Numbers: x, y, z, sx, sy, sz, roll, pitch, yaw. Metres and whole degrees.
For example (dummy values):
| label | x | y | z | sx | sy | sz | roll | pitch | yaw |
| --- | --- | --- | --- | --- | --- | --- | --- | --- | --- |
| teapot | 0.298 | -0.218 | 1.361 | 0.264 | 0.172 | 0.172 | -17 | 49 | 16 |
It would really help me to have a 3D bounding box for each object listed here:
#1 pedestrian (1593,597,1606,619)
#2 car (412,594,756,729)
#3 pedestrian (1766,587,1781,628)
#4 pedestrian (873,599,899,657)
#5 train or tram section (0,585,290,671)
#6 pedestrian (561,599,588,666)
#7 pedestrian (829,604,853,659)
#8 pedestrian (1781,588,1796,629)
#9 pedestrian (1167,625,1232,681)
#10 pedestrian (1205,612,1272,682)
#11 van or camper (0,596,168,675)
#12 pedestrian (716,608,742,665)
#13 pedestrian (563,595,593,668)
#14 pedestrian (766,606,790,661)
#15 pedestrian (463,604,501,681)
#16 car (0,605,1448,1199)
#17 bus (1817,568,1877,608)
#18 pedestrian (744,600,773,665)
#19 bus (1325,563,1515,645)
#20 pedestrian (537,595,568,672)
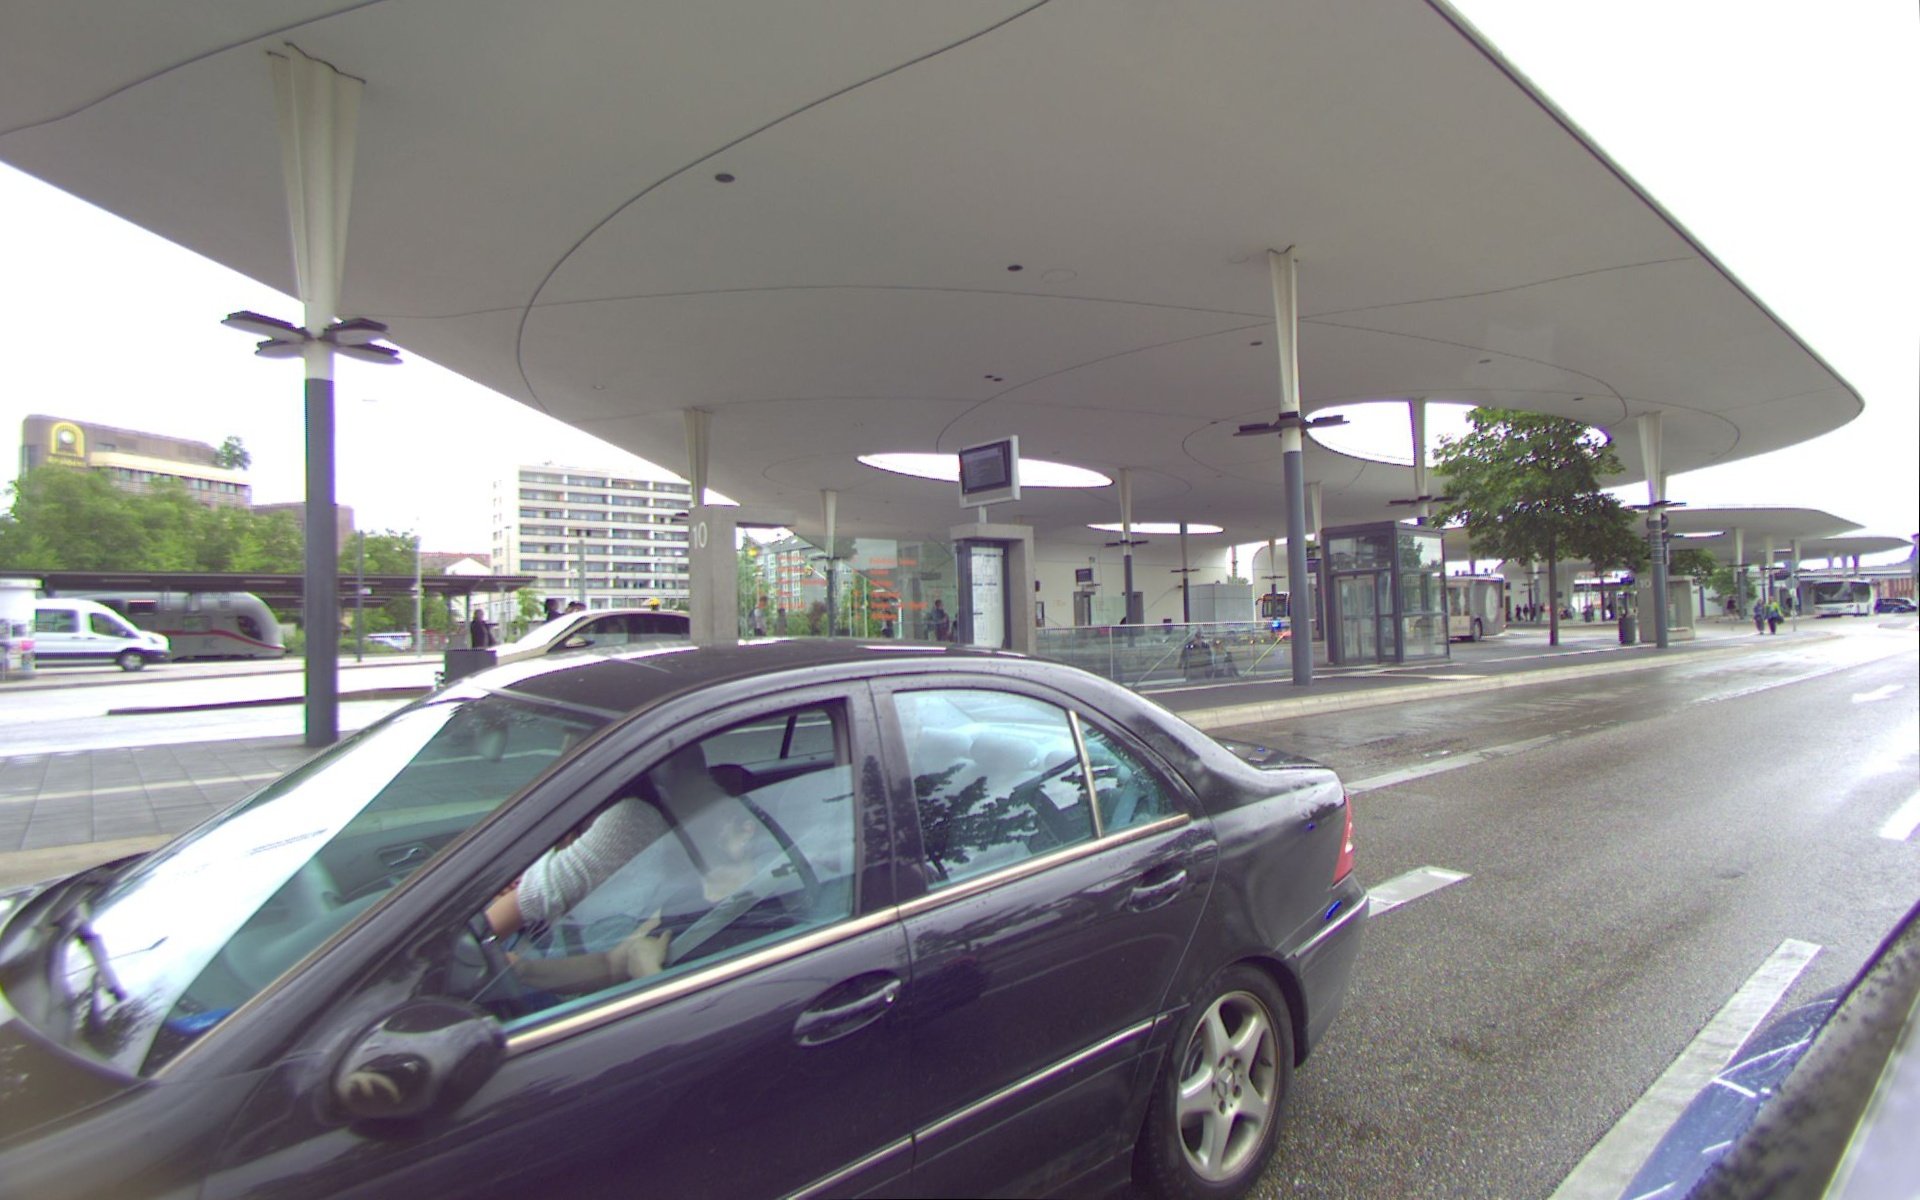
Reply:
| label | x | y | z | sx | sy | sz | roll | pitch | yaw |
| --- | --- | --- | --- | --- | --- | --- | --- | --- | --- |
| pedestrian | 61.214 | 0.754 | 96.805 | 1.018 | 2.039 | 0.869 | 0 | 0 | 35 |
| car | -5.541 | 0.773 | 15.226 | 4.462 | 1.702 | 1.997 | -1 | 0 | -41 |
| pedestrian | 36.066 | 0.342 | 44.854 | 0.444 | 1.786 | 0.529 | -2 | -1 | 43 |
| pedestrian | -1.970 | 0.740 | 26.956 | 0.525 | 1.533 | 0.479 | 0 | -1 | -37 |
| train or tram section | -50.801 | 1.399 | 50.353 | 28.798 | 4.234 | 4.598 | -1 | 0 | -41 |
| pedestrian | -8.938 | 0.750 | 23.483 | 0.469 | 1.533 | 0.535 | 0 | -1 | -6 |
| pedestrian | -3.413 | 0.898 | 28.998 | 0.515 | 1.533 | 0.479 | 0 | -1 | -37 |
| pedestrian | 36.434 | 0.360 | 44.497 | 0.444 | 1.786 | 0.529 | -2 | -1 | 43 |
| pedestrian | 4.853 | 1.057 | 20.487 | 0.940 | 1.068 | 0.882 | 0 | 0 | -37 |
| pedestrian | 5.432 | 0.896 | 19.753 | 0.940 | 1.291 | 0.882 | 0 | 0 | -37 |
| van or camper | -29.728 | 1.108 | 33.239 | 5.762 | 2.464 | 1.997 | -1 | 0 | -41 |
| pedestrian | -6.330 | 0.987 | 27.762 | 0.556 | 1.533 | 0.479 | 0 | -1 | -37 |
| pedestrian | -8.170 | 0.667 | 21.645 | 0.470 | 1.533 | 0.535 | 0 | -1 | -36 |
| pedestrian | -5.096 | 0.925 | 28.329 | 0.515 | 1.533 | 0.479 | 0 | -1 | -37 |
| pedestrian | -10.327 | 0.899 | 21.851 | 0.725 | 1.615 | 0.643 | 0 | 0 | -26 |
| car | -0.638 | 0.790 | 2.447 | 4.374 | 1.484 | 1.697 | -1 | 0 | -41 |
| bus | 75.562 | -0.950 | 86.402 | 3.568 | 3.138 | 10.597 | -1 | -1 | 40 |
| pedestrian | -4.861 | 0.780 | 24.374 | 0.525 | 1.533 | 0.479 | 0 | -1 | -37 |
| bus | 20.112 | 0.089 | 43.721 | 11.714 | 3.121 | 2.874 | -1 | 0 | -41 |
| pedestrian | -8.329 | 0.672 | 20.664 | 0.470 | 1.533 | 0.535 | 0 | -1 | -36 |
